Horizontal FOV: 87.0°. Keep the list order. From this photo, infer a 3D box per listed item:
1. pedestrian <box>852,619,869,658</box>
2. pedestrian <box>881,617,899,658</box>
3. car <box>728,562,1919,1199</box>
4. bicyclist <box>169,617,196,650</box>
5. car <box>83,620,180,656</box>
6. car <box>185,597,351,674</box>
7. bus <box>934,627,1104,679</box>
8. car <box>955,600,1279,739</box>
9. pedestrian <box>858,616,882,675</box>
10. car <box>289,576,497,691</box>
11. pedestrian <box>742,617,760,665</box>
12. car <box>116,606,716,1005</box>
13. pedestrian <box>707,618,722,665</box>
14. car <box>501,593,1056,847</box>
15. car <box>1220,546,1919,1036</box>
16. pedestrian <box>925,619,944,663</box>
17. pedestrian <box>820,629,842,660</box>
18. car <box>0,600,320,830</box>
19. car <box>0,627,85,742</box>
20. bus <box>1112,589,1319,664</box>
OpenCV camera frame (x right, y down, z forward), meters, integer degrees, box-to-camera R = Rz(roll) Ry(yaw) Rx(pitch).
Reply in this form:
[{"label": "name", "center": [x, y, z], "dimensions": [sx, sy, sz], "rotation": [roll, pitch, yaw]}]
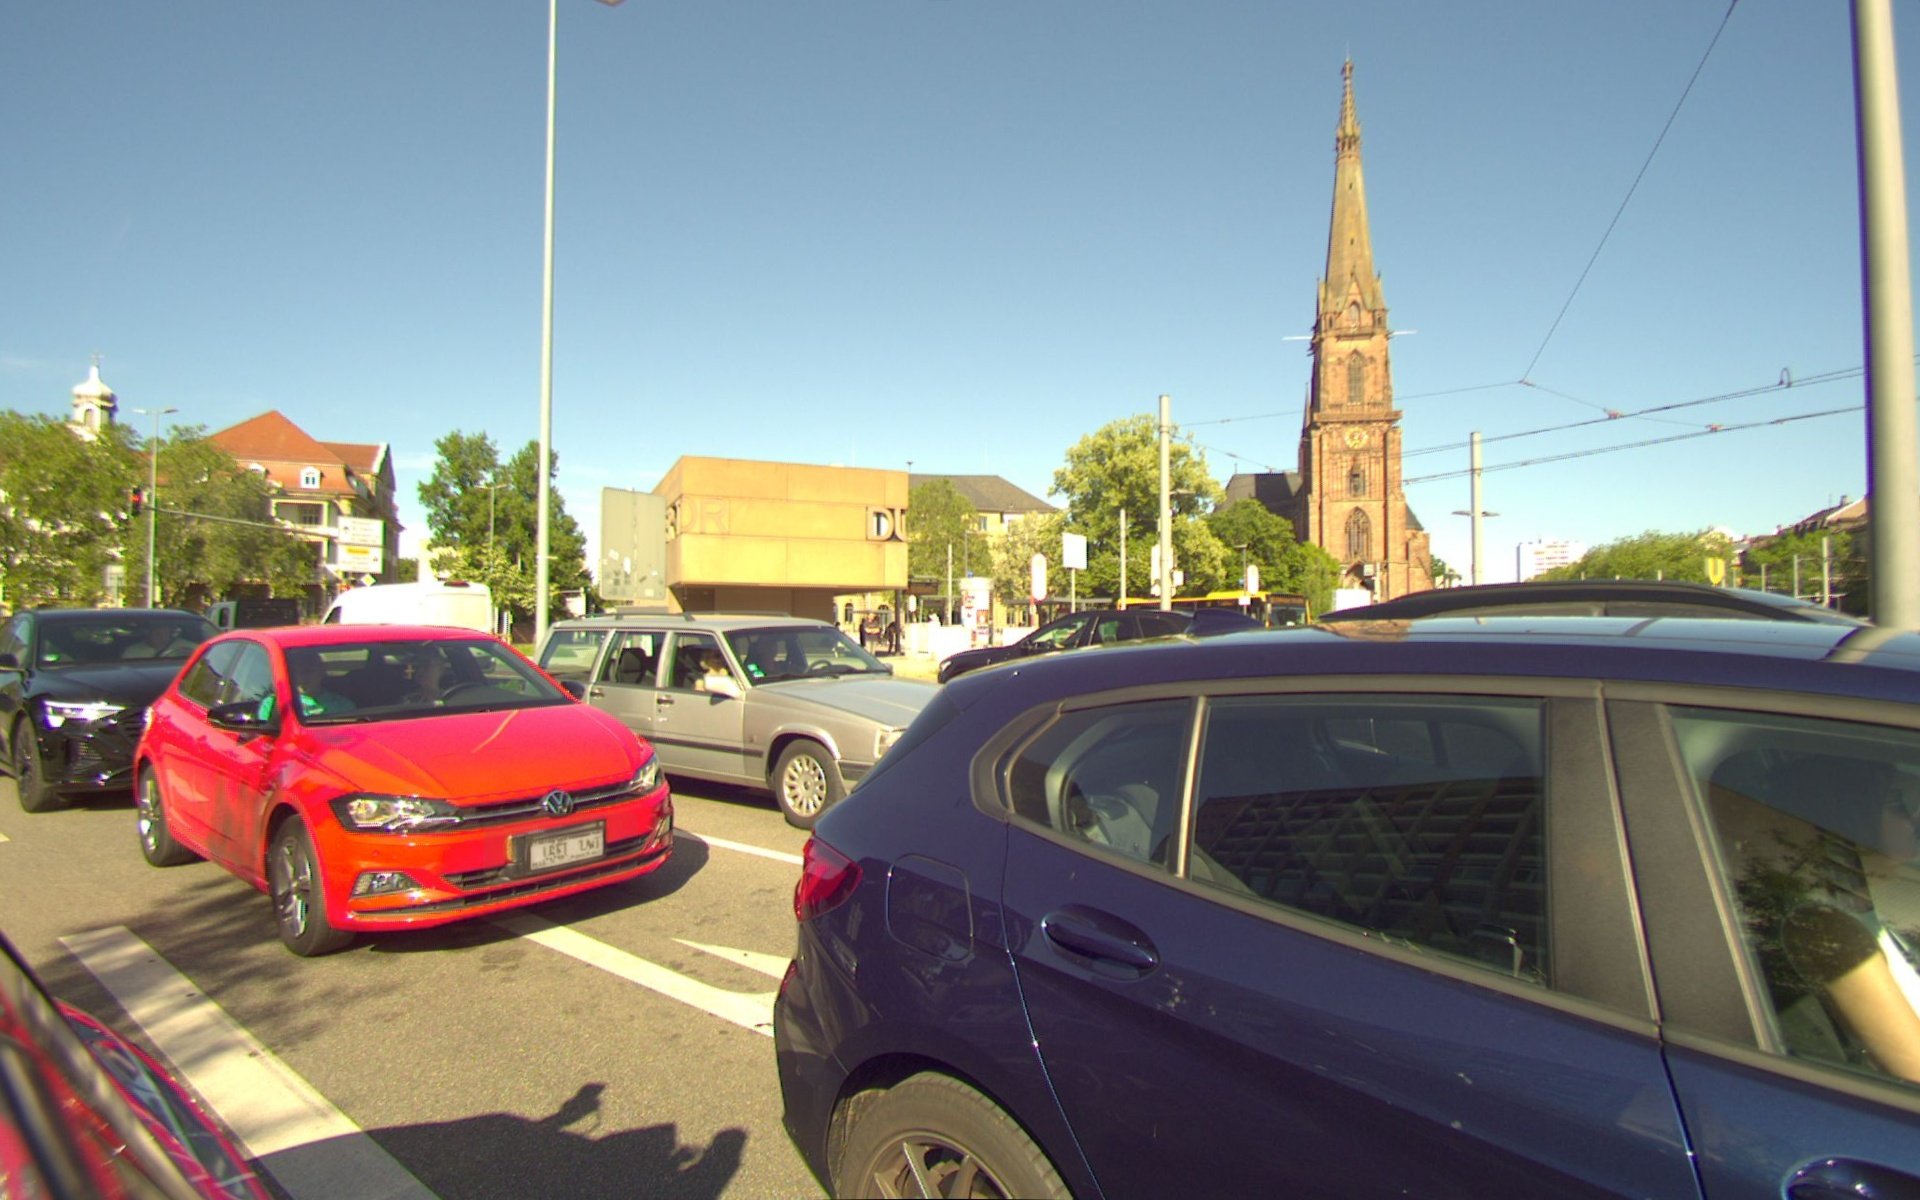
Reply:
[{"label": "pedestrian", "center": [-4.569, 1.762, 46.471], "dimensions": [0.468, 1.789, 0.638], "rotation": [-2, -2, 36]}, {"label": "pedestrian", "center": [-3.105, 1.648, 44.936], "dimensions": [0.468, 1.789, 0.638], "rotation": [-2, -2, 36]}, {"label": "car", "center": [1.587, 0.687, 1.374], "dimensions": [4.030, 1.456, 1.692], "rotation": [-1, -1, 42]}, {"label": "bicyclist", "center": [-37.566, 1.617, 48.900], "dimensions": [0.691, 1.570, 0.809], "rotation": [-1, -1, 24]}, {"label": "car", "center": [-40.855, 1.884, 49.982], "dimensions": [1.517, 1.692, 3.352], "rotation": [-1, -2, 25]}, {"label": "car", "center": [-22.728, 1.164, 33.154], "dimensions": [6.191, 2.331, 2.095], "rotation": [-1, -2, 31]}, {"label": "bus", "center": [1.483, 1.339, 26.163], "dimensions": [4.174, 1.251, 1.627], "rotation": [-1, -2, 35]}, {"label": "car", "center": [2.127, 0.901, 14.000], "dimensions": [4.057, 1.672, 1.851], "rotation": [-1, -2, 31]}, {"label": "pedestrian", "center": [-2.789, 1.411, 31.445], "dimensions": [0.658, 1.802, 0.646], "rotation": [-1, -1, 1]}, {"label": "car", "center": [-13.777, 0.809, 24.491], "dimensions": [5.399, 2.527, 1.979], "rotation": [-1, -2, 31]}, {"label": "pedestrian", "center": [-7.915, 1.547, 38.342], "dimensions": [0.635, 1.789, 0.618], "rotation": [0, -2, -8]}, {"label": "car", "center": [-3.227, 0.812, 5.670], "dimensions": [3.850, 1.484, 1.653], "rotation": [-2, -1, 40]}, {"label": "pedestrian", "center": [-9.337, 1.581, 38.505], "dimensions": [0.460, 1.789, 0.648], "rotation": [0, -2, -21]}, {"label": "car", "center": [-1.700, 0.808, 8.228], "dimensions": [4.746, 1.484, 1.692], "rotation": [-3, 0, 38]}, {"label": "car", "center": [3.295, 0.612, 4.086], "dimensions": [4.010, 1.529, 1.738], "rotation": [-2, -2, 44]}, {"label": "pedestrian", "center": [-1.044, 1.654, 41.008], "dimensions": [0.634, 1.789, 0.470], "rotation": [1, -2, -29]}, {"label": "pedestrian", "center": [-5.519, 1.881, 43.184], "dimensions": [0.635, 1.320, 0.764], "rotation": [1, -2, -40]}, {"label": "car", "center": [-7.800, 0.880, 9.298], "dimensions": [4.446, 1.628, 1.836], "rotation": [-1, -2, 38]}, {"label": "car", "center": [-13.602, 1.117, 13.867], "dimensions": [3.703, 1.429, 1.557], "rotation": [-1, -1, 34]}, {"label": "bus", "center": [11.624, 1.320, 48.110], "dimensions": [2.715, 3.088, 12.201], "rotation": [1, -2, -23]}]
